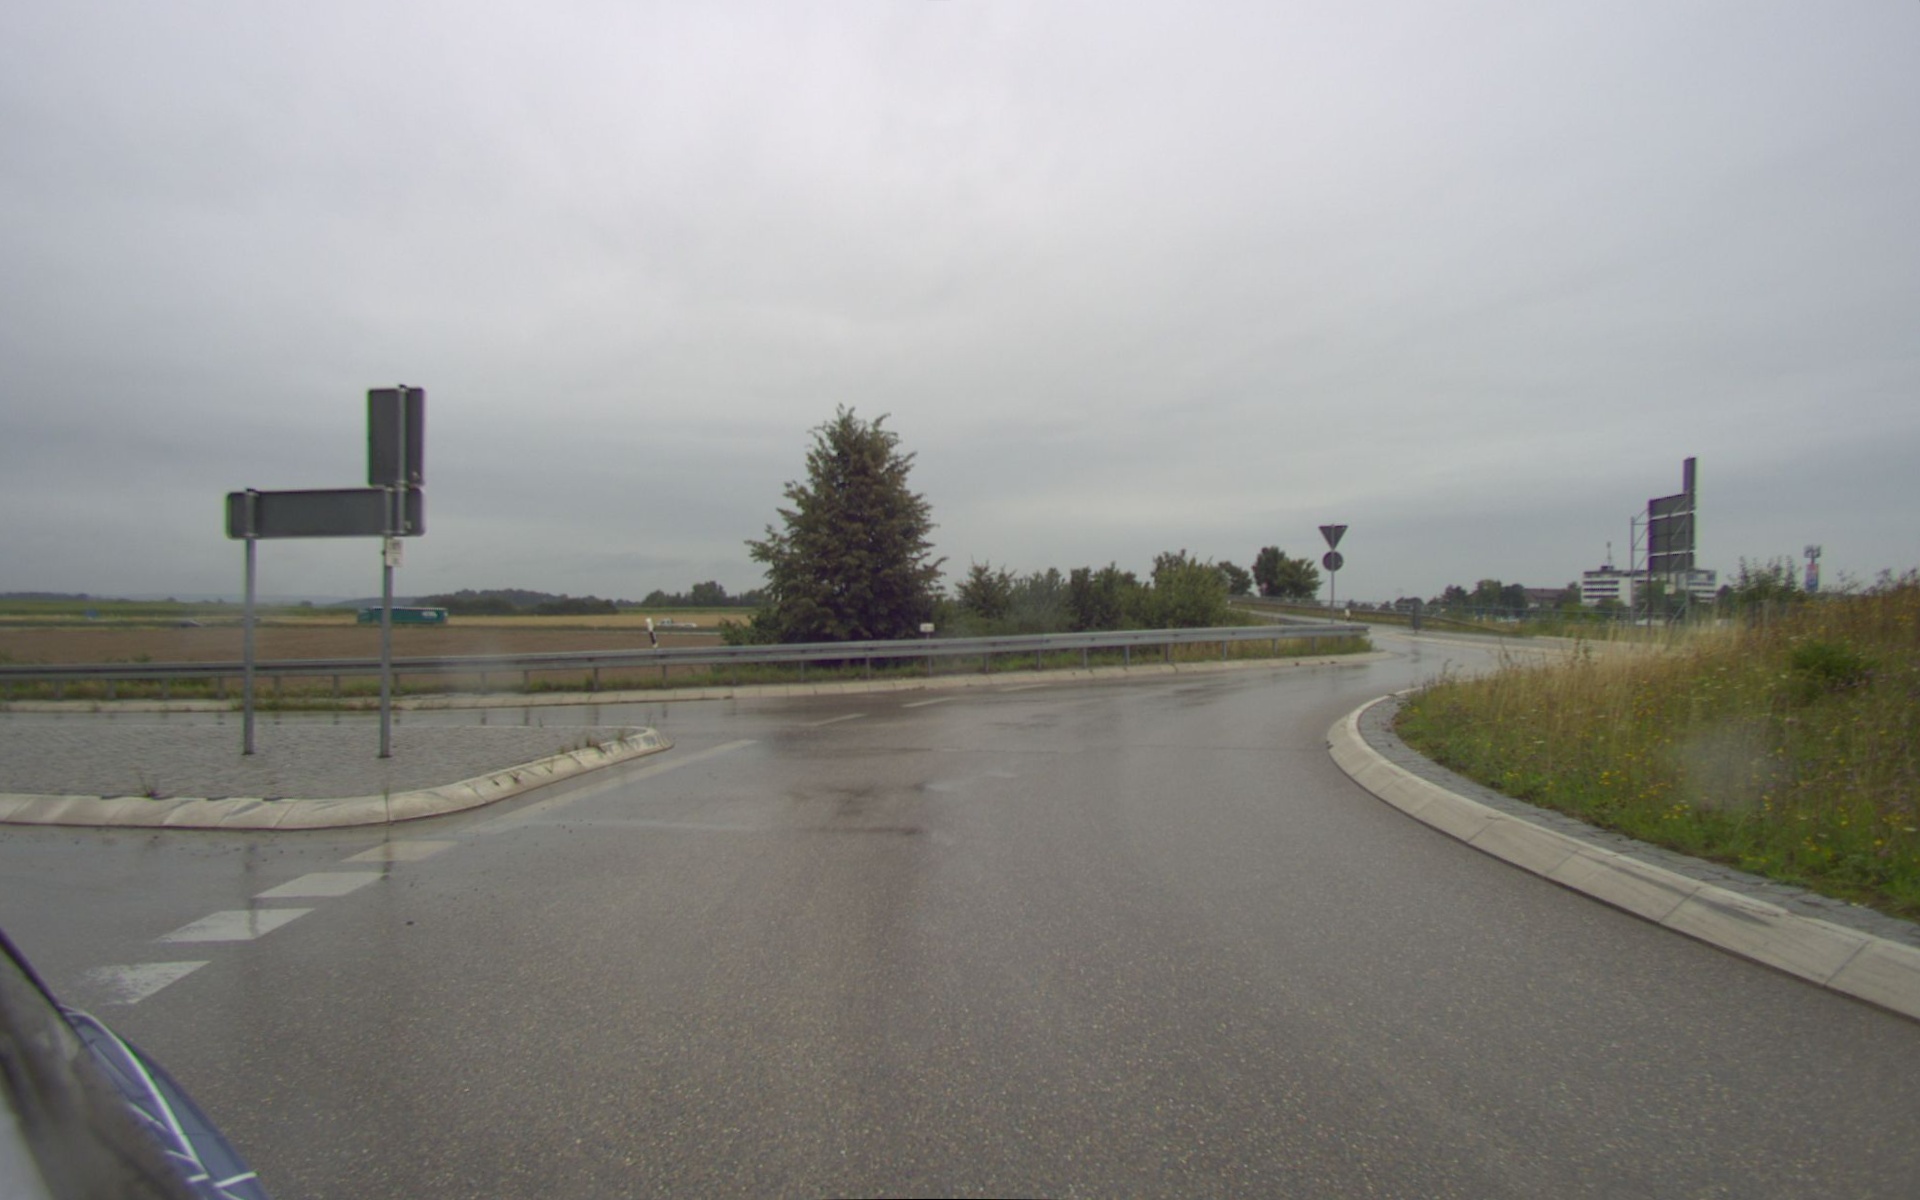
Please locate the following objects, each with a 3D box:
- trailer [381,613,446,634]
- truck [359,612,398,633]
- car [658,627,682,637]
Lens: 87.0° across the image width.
[{"bbox_3d":[-111.003,4.684,205.644,11.293,3.917,2.956,1,1,-10],"label":"trailer"},{"bbox_3d":[-117.469,4.540,204.584,6.175,3.943,2.956,1,1,-10],"label":"truck"},{"bbox_3d":[-62.232,6.891,217.063,4.737,2.028,2.004,2,1,-8],"label":"car"}]
